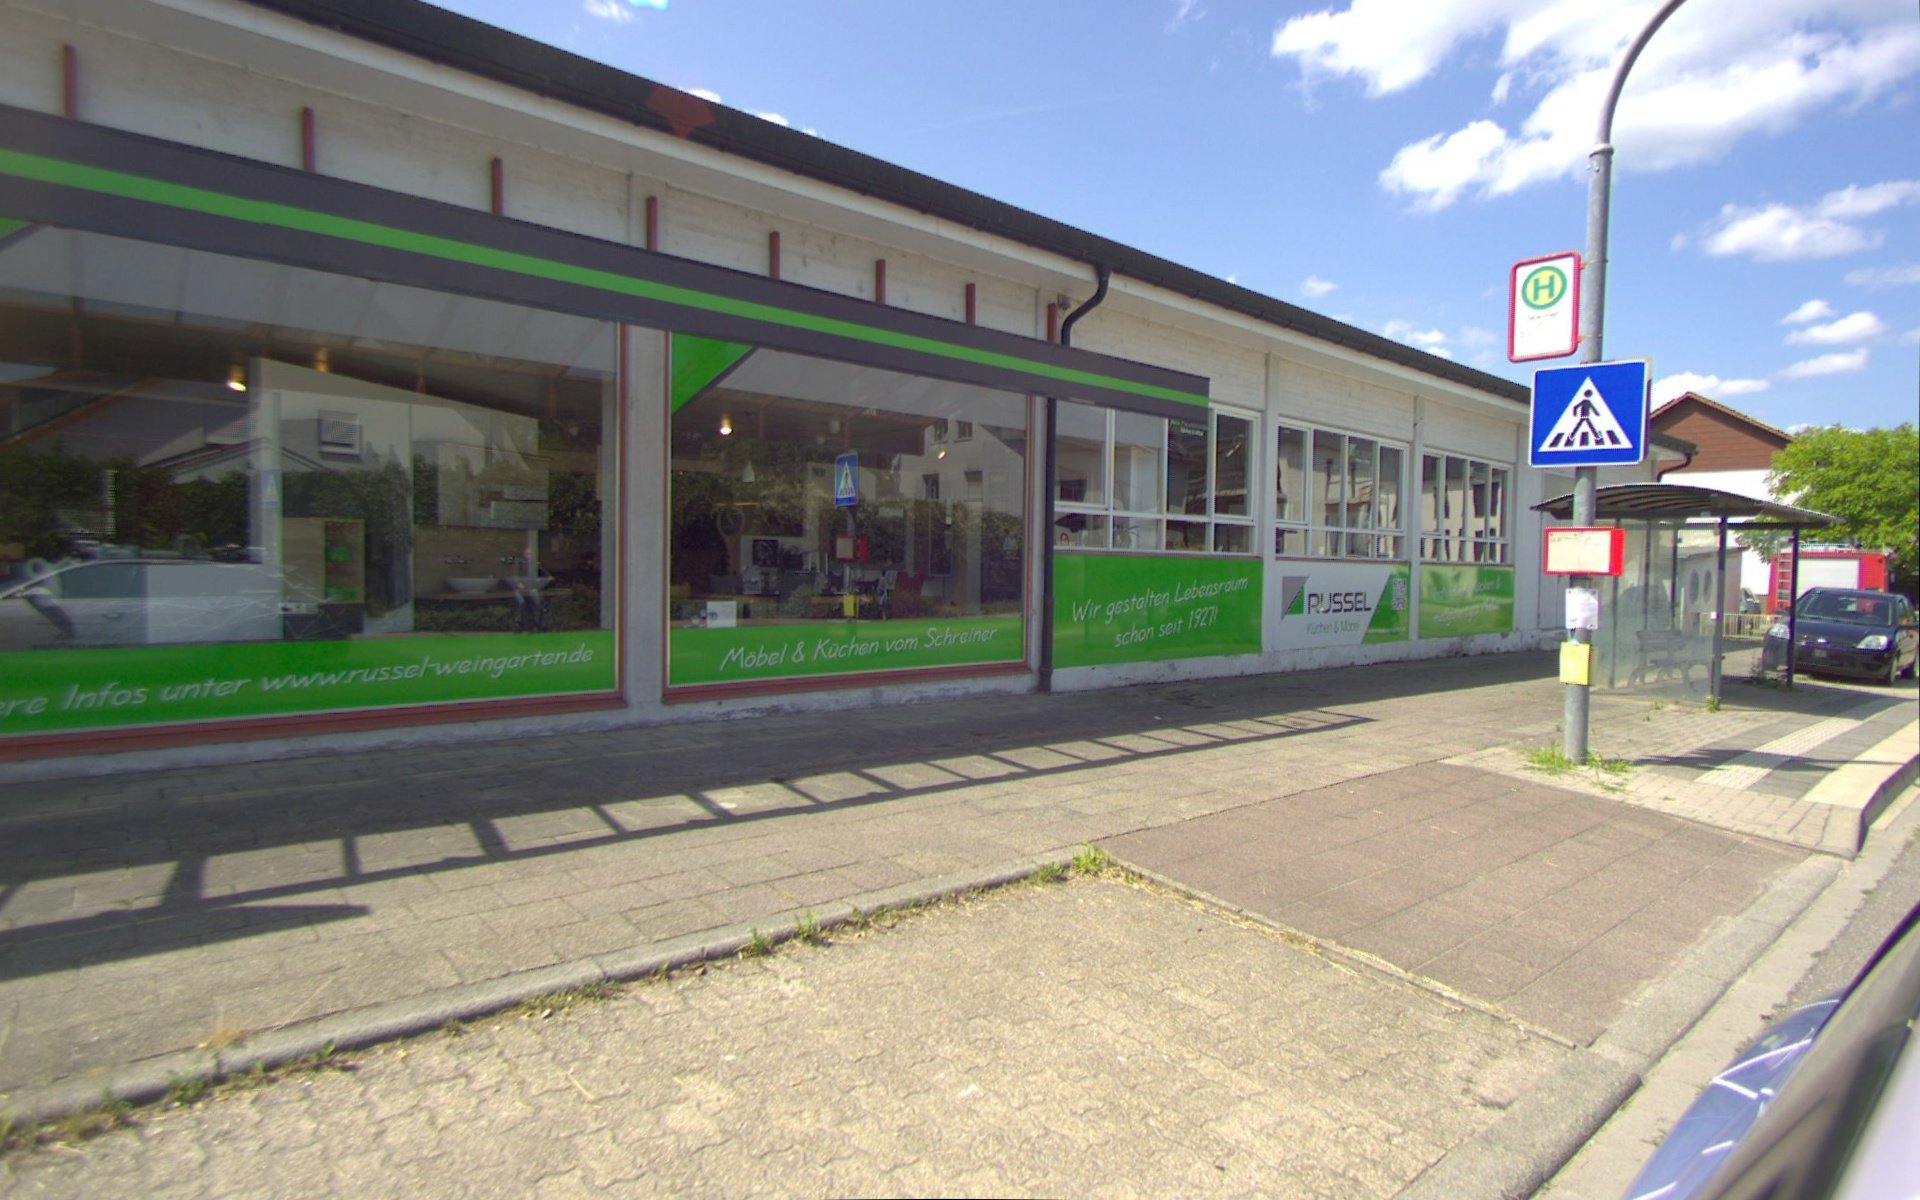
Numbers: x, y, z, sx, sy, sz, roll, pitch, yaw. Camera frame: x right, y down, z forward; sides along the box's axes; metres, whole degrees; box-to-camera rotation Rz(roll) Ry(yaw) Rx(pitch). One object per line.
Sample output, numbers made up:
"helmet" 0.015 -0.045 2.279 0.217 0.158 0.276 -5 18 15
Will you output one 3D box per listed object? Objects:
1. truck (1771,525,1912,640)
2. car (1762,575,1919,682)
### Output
"truck" 24.603 -0.537 28.163 2.573 2.795 6.236 5 4 43
"car" 14.929 0.392 16.891 3.695 1.511 1.728 0 4 -41
